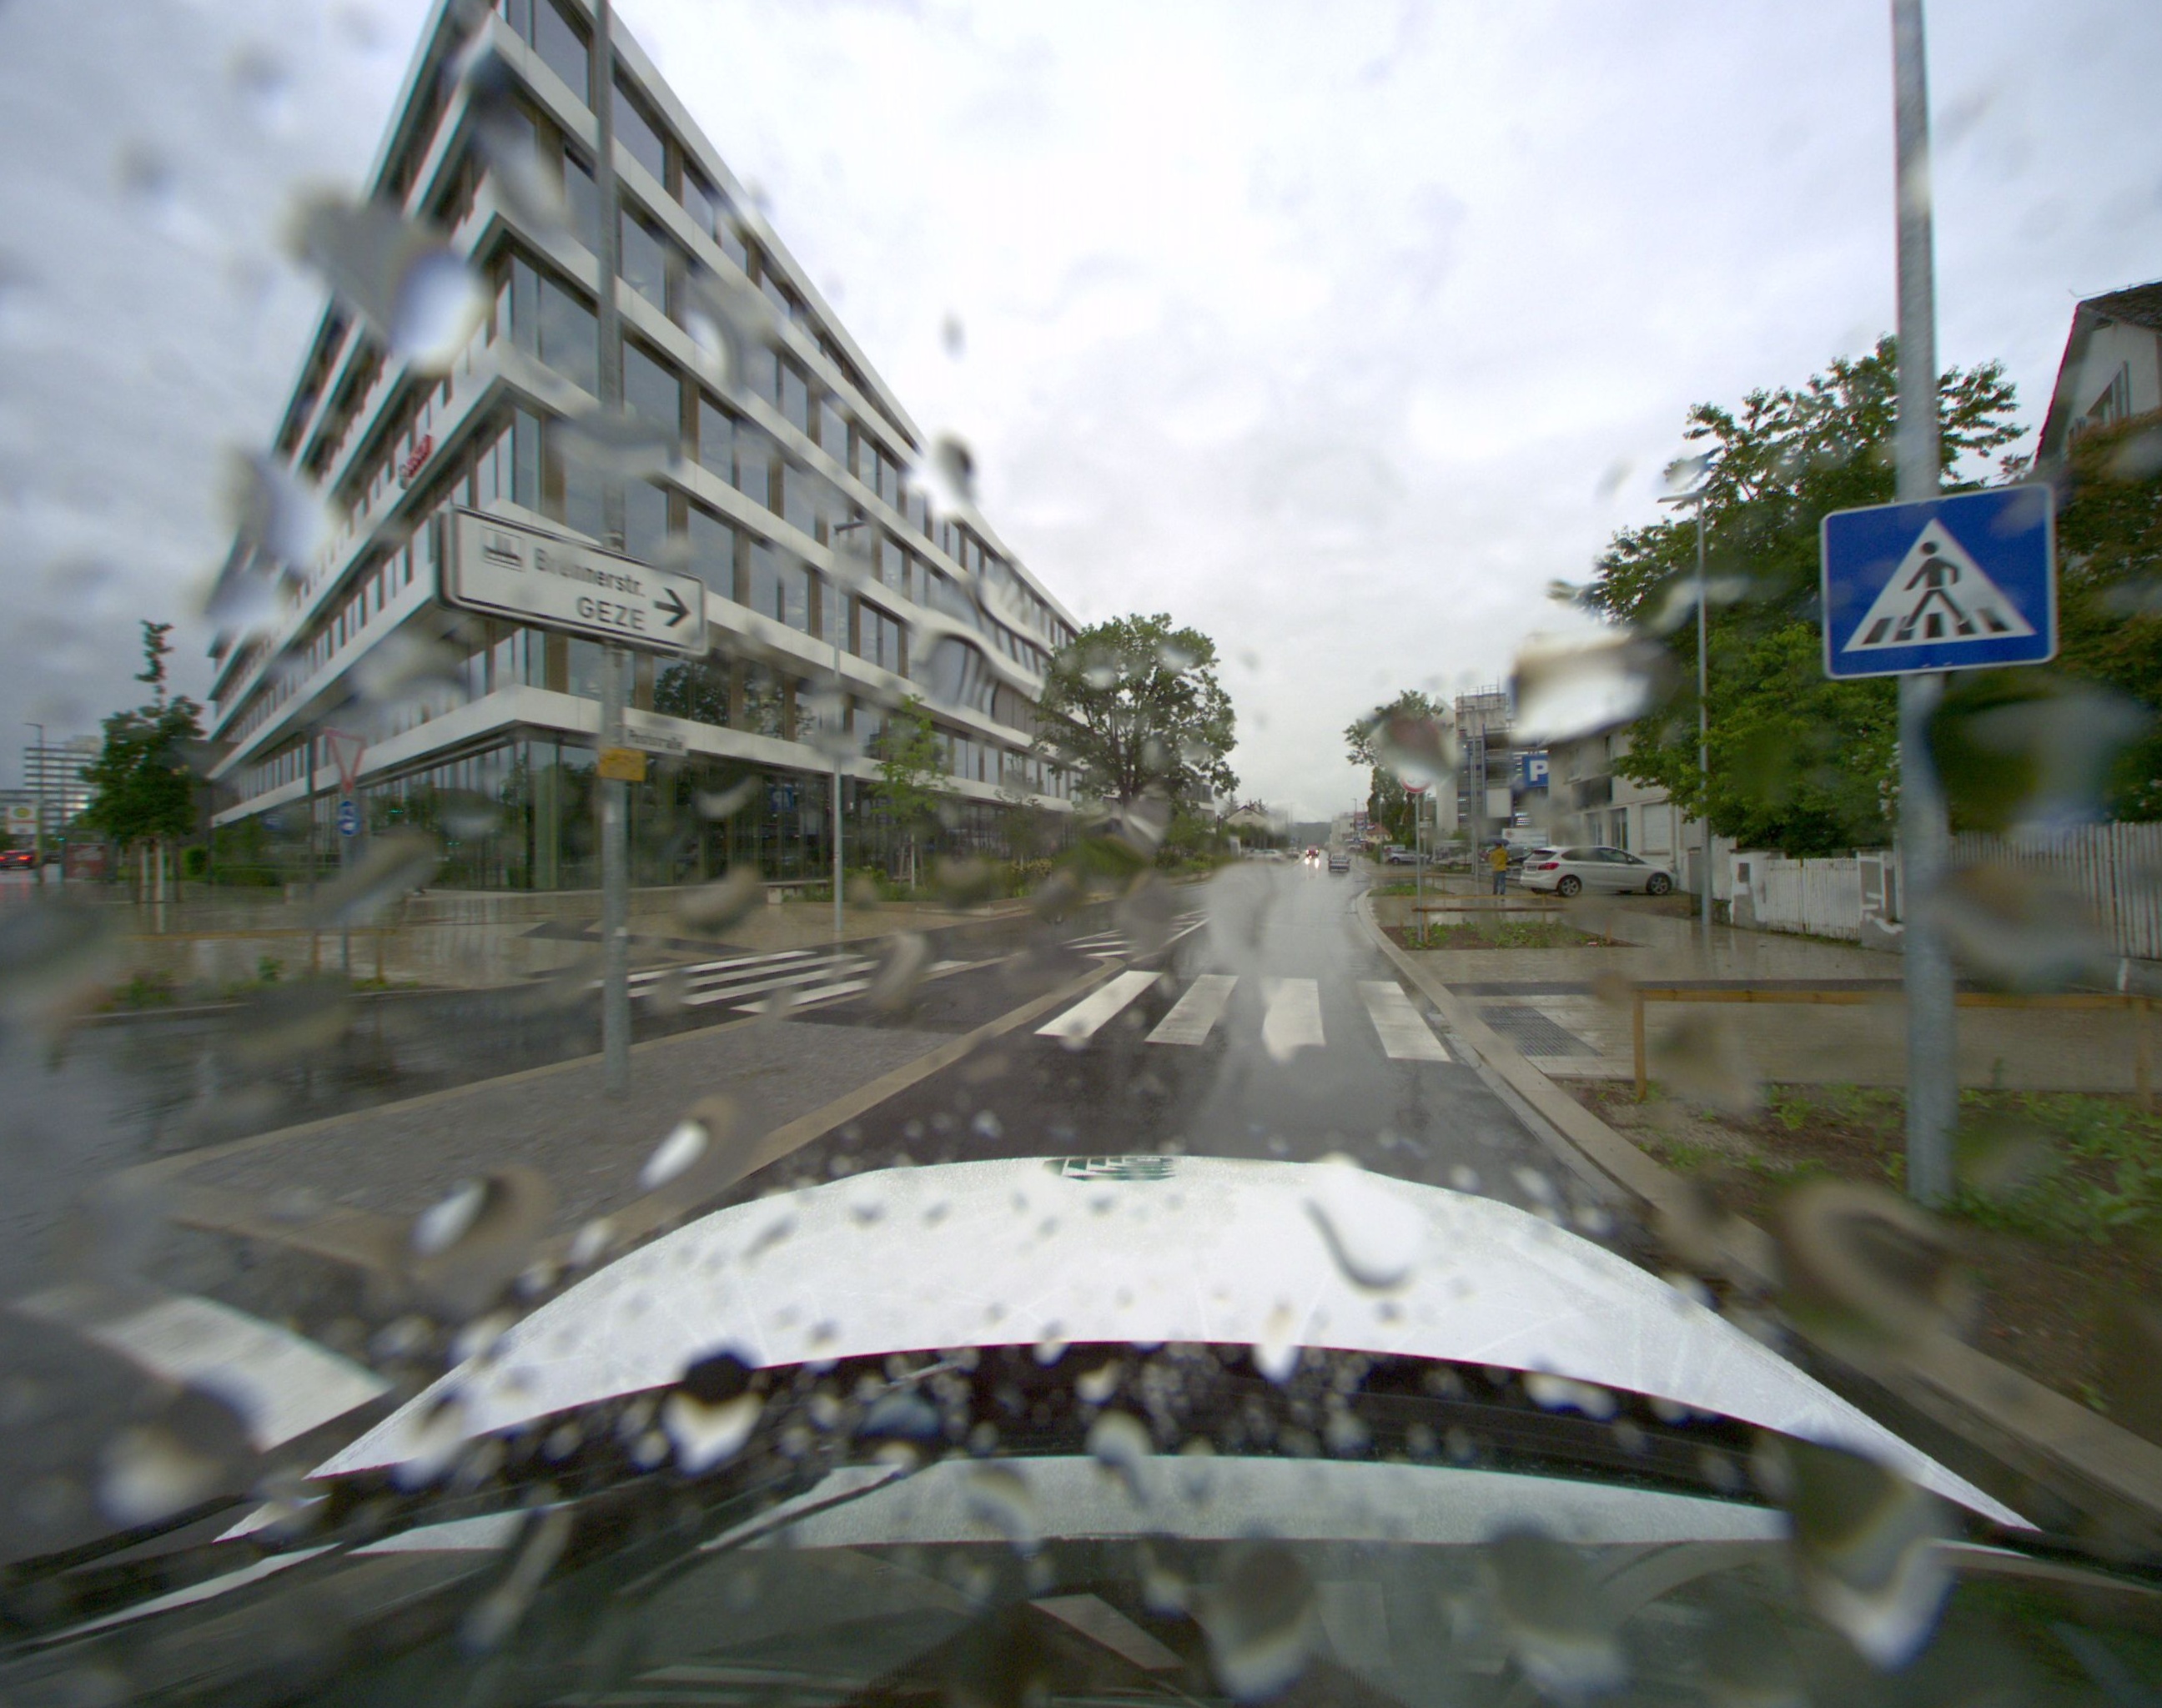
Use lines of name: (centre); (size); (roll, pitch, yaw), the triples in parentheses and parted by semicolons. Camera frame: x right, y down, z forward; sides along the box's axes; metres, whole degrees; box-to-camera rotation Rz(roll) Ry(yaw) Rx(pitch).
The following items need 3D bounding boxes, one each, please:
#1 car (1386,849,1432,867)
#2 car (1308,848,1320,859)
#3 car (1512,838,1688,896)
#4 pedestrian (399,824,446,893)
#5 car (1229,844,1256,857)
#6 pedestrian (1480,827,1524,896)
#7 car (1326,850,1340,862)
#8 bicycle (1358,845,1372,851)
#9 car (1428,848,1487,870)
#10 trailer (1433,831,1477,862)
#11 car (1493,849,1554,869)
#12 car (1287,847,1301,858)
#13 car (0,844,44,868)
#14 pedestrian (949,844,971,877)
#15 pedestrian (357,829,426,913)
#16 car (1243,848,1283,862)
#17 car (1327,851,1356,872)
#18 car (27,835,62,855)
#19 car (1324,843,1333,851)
car: (33.522, 0.379, 83.258); (4.168, 1.650, 2.012); (-2, -1, 26)
car: (38.712, -0.130, 135.282); (1.988, 1.818, 5.000); (0, 0, 16)
car: (15.894, 0.380, 25.124); (4.112, 1.580, 2.001); (-2, 0, 2)
pedestrian: (-20.795, 0.137, 25.720); (0.920, 2.145, 1.012); (0, 0, 43)
car: (30.162, -0.668, 152.140); (4.726, 2.013, 2.005); (4, 0, 8)
pedestrian: (12.671, 0.225, 24.557); (0.852, 2.014, 1.200); (-3, -1, 15)
car: (41.289, 0.318, 133.430); (2.138, 1.706, 4.017); (3, 0, 17)
bicycle: (57.647, -1.241, 165.400); (0.669, 1.067, 3.611); (4, 0, -14)
car: (27.719, 0.392, 60.021); (3.697, 1.529, 1.657); (-2, -1, 16)
trailer: (26.435, -0.507, 57.659); (2.680, 2.171, 1.555); (0, 0, 18)
car: (32.815, 0.392, 60.469); (3.699, 1.449, 1.737); (-1, 0, 13)
car: (33.353, -0.229, 127.624); (1.978, 1.629, 4.171); (-1, 1, 17)
car: (-93.815, 0.177, 72.177); (3.950, 1.860, 2.012); (3, -1, 42)
pedestrian: (-6.534, 0.354, 43.964); (0.718, 1.704, 0.961); (3, -1, 20)
pedestrian: (-17.067, 0.402, 20.186); (0.884, 2.013, 0.935); (0, 0, 12)
car: (18.919, 0.071, 84.586); (3.897, 1.423, 1.907); (0, 0, 17)
car: (21.371, 0.661, 66.818); (1.934, 1.555, 4.015); (3, 0, 14)
car: (-110.882, -0.990, 87.147); (3.950, 1.860, 2.012); (3, -1, 42)
car: (57.425, -1.541, 188.929); (1.978, 1.706, 4.017); (3, 0, 17)
